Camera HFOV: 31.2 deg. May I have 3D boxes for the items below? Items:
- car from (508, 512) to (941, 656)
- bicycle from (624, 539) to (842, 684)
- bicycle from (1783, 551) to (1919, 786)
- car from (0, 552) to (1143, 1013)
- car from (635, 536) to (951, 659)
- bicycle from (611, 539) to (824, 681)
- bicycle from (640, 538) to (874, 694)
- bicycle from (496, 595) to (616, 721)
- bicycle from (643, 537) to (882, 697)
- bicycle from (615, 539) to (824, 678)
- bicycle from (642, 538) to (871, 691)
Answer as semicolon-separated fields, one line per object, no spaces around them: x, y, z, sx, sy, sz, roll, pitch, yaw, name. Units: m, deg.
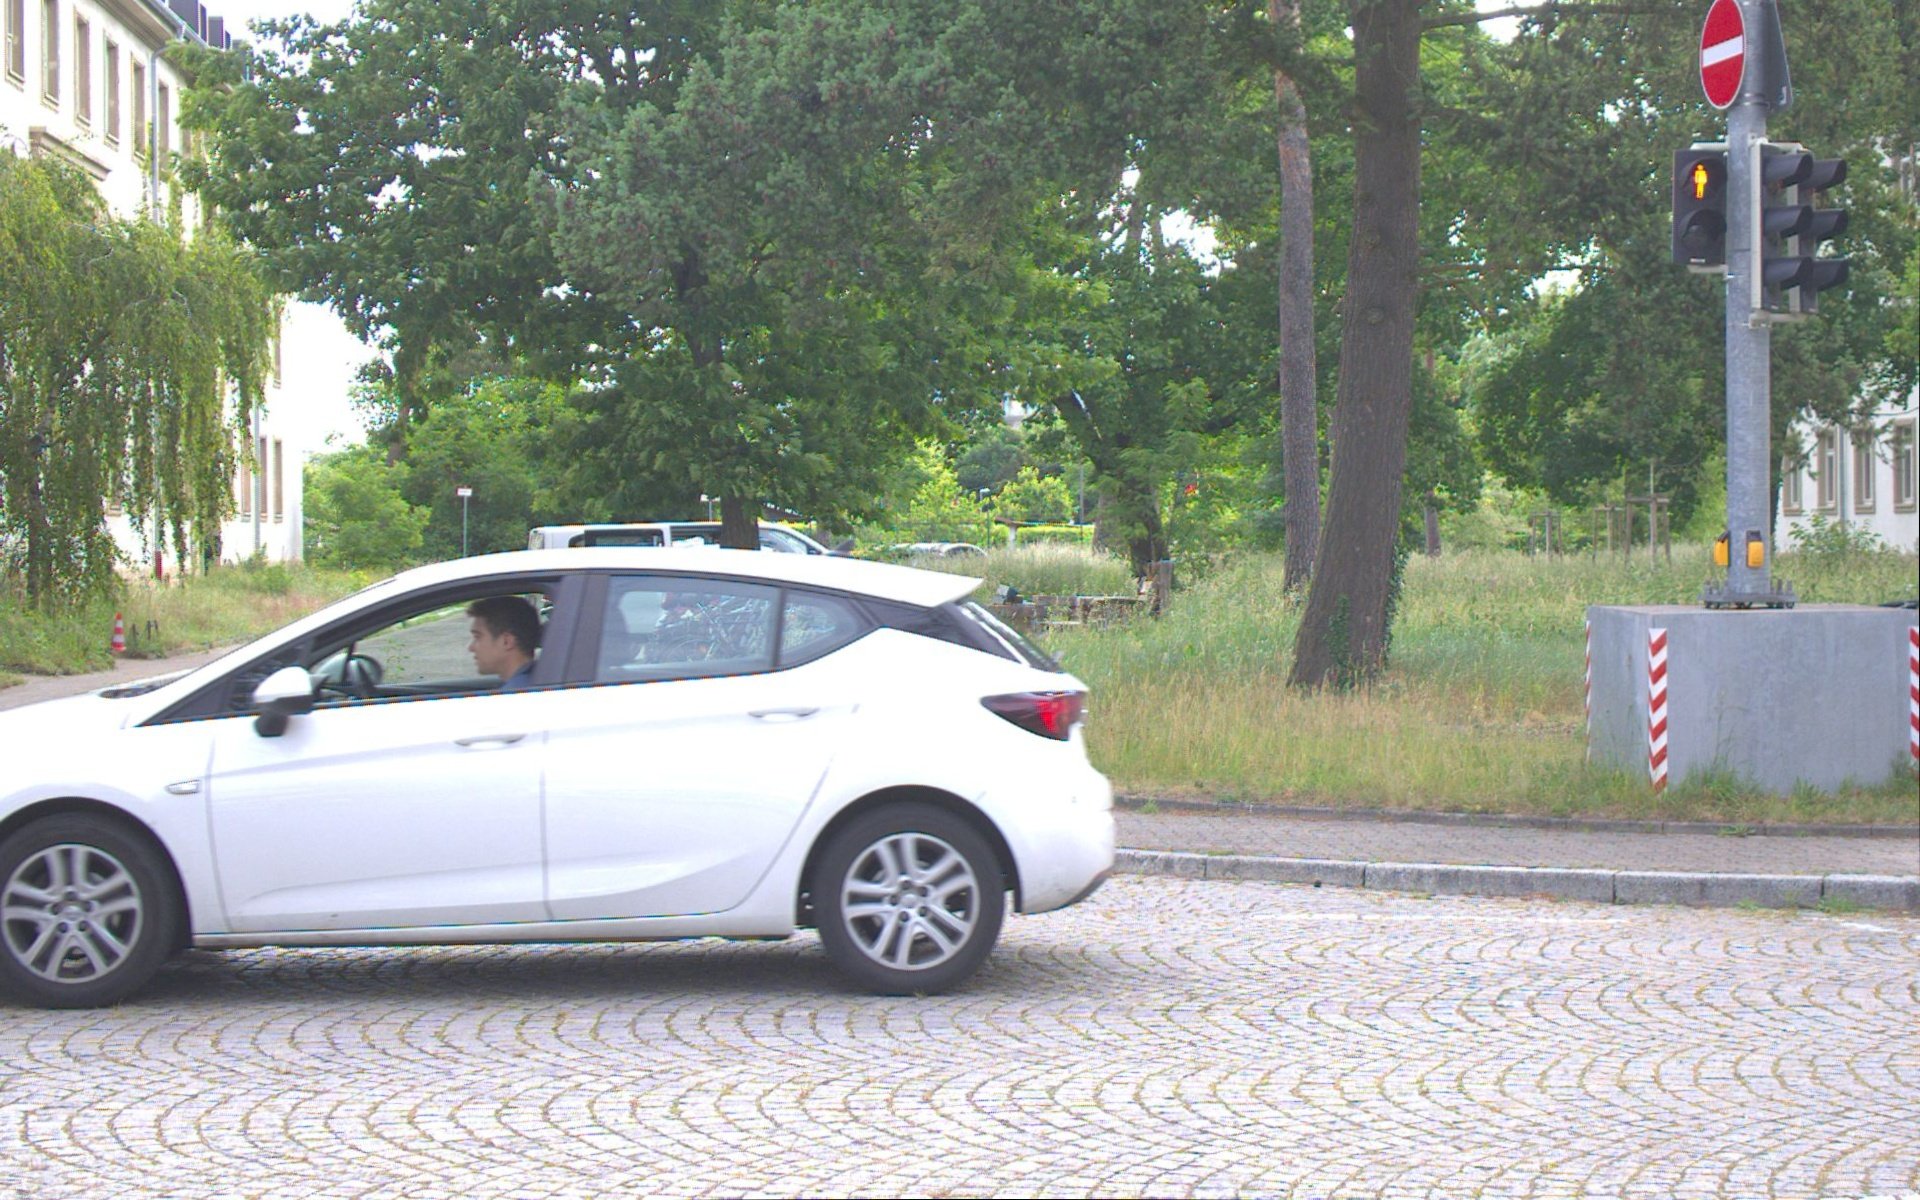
-3.313;-0.253;48.040;5.690;1.904;2.231;-1;1;-15;car
-2.177;0.101;33.080;2.069;1.373;0.620;0;1;-3;bicycle
5.114;0.330;18.271;0.908;1.173;1.875;0;1;-4;bicycle
-1.597;0.557;11.763;4.242;1.411;1.888;0;1;-3;car
-2.209;-0.051;44.725;3.931;1.539;2.001;0;1;-8;car
-2.375;0.090;33.809;2.069;1.373;0.620;0;1;-3;bicycle
-1.817;0.134;30.875;2.069;1.373;0.620;0;1;-3;bicycle
-3.312;0.458;28.333;0.618;0.960;2.076;0;1;3;bicycle
-1.731;0.143;30.208;2.069;1.373;0.620;0;1;-3;bicycle
-2.407;0.082;34.556;2.069;1.373;0.620;0;1;-3;bicycle
-1.859;0.127;31.499;2.069;1.373;0.620;0;1;-3;bicycle
